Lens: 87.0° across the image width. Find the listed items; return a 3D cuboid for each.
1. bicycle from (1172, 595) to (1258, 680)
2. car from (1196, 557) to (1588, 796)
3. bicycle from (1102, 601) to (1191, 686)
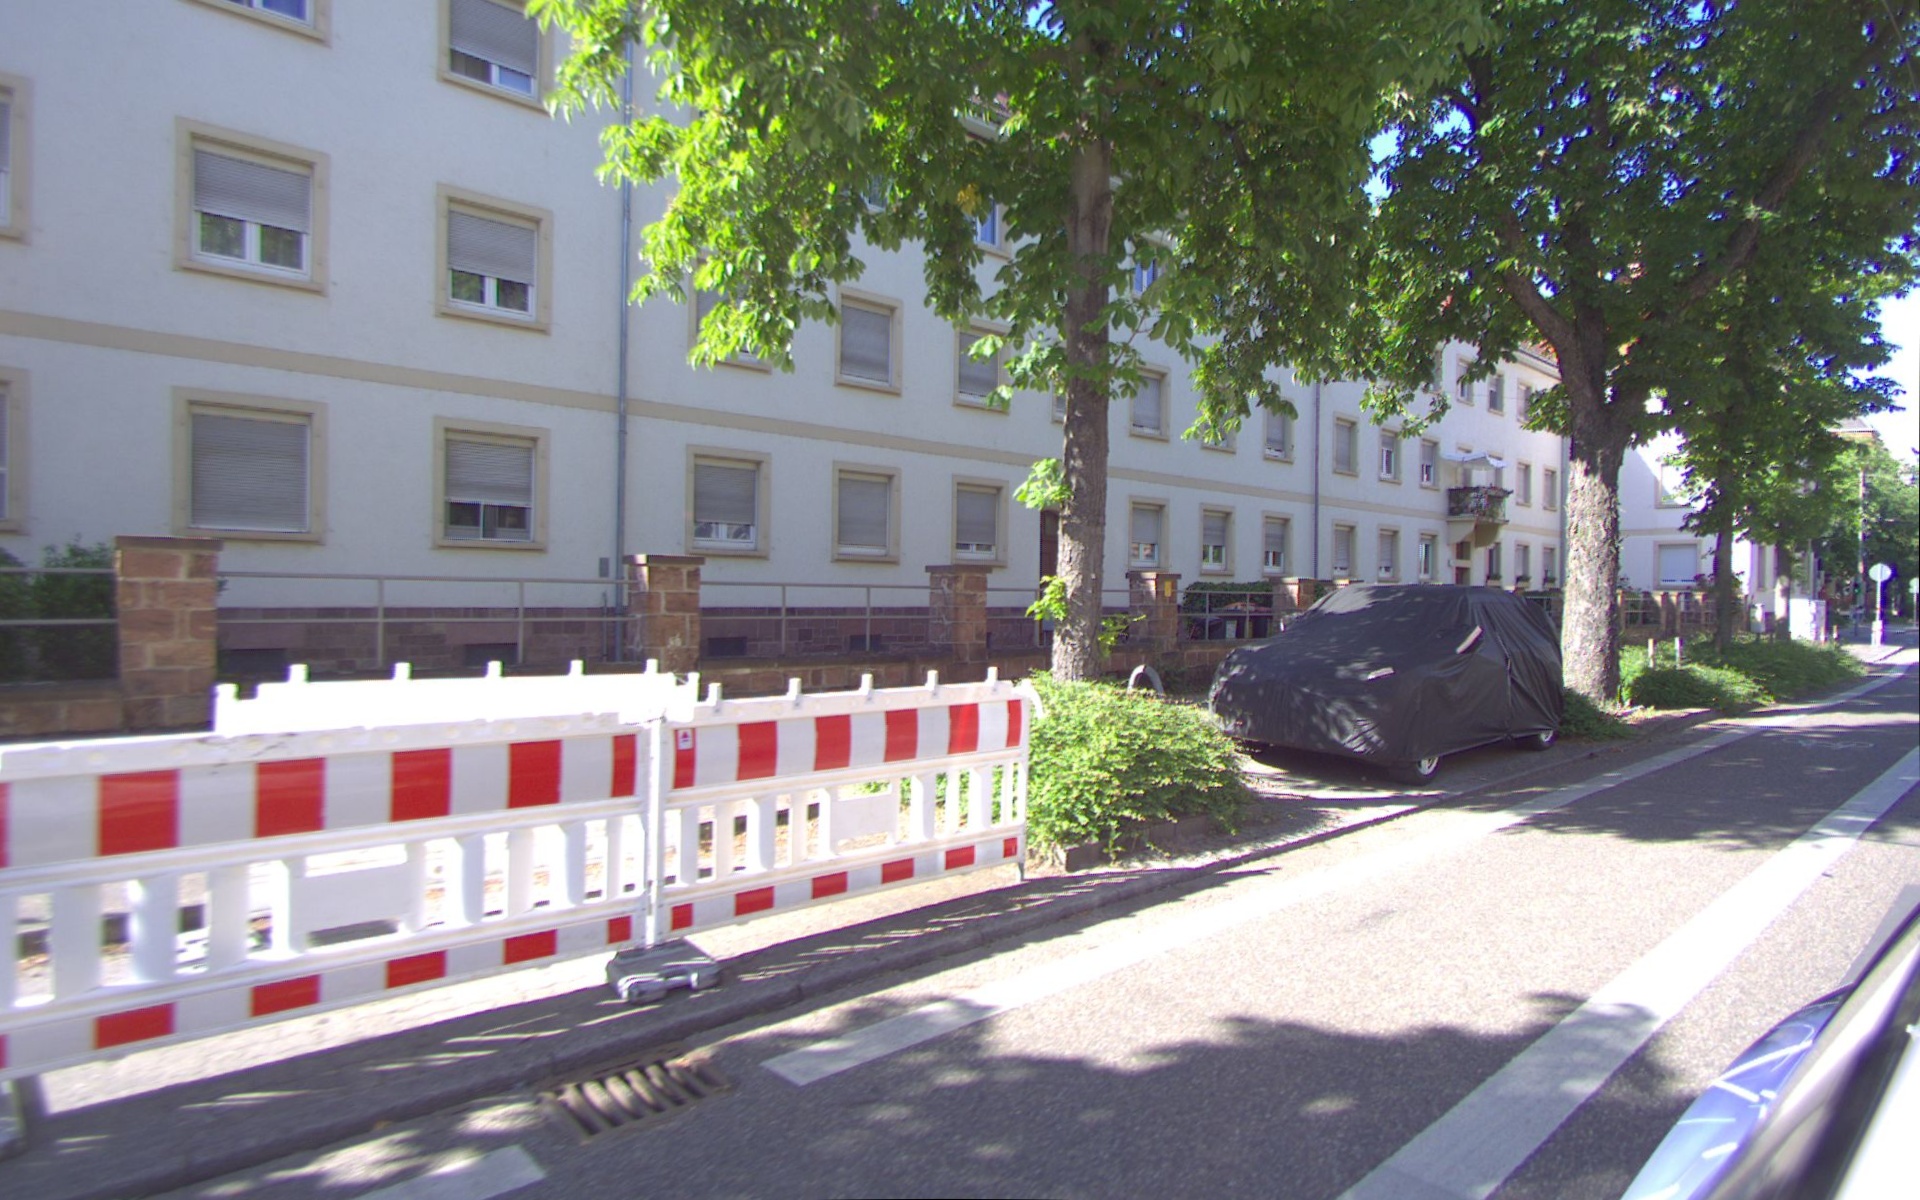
[{"bbox_3d":[3.977,0.553,15.748,1.647,1.253,0.448,0,1,-42],"label":"bicycle"},{"bbox_3d":[4.304,0.584,9.734,4.400,1.788,1.746,0,-1,-42],"label":"car"},{"bbox_3d":[2.931,0.656,15.829,1.647,1.253,0.448,0,1,-42],"label":"bicycle"}]
